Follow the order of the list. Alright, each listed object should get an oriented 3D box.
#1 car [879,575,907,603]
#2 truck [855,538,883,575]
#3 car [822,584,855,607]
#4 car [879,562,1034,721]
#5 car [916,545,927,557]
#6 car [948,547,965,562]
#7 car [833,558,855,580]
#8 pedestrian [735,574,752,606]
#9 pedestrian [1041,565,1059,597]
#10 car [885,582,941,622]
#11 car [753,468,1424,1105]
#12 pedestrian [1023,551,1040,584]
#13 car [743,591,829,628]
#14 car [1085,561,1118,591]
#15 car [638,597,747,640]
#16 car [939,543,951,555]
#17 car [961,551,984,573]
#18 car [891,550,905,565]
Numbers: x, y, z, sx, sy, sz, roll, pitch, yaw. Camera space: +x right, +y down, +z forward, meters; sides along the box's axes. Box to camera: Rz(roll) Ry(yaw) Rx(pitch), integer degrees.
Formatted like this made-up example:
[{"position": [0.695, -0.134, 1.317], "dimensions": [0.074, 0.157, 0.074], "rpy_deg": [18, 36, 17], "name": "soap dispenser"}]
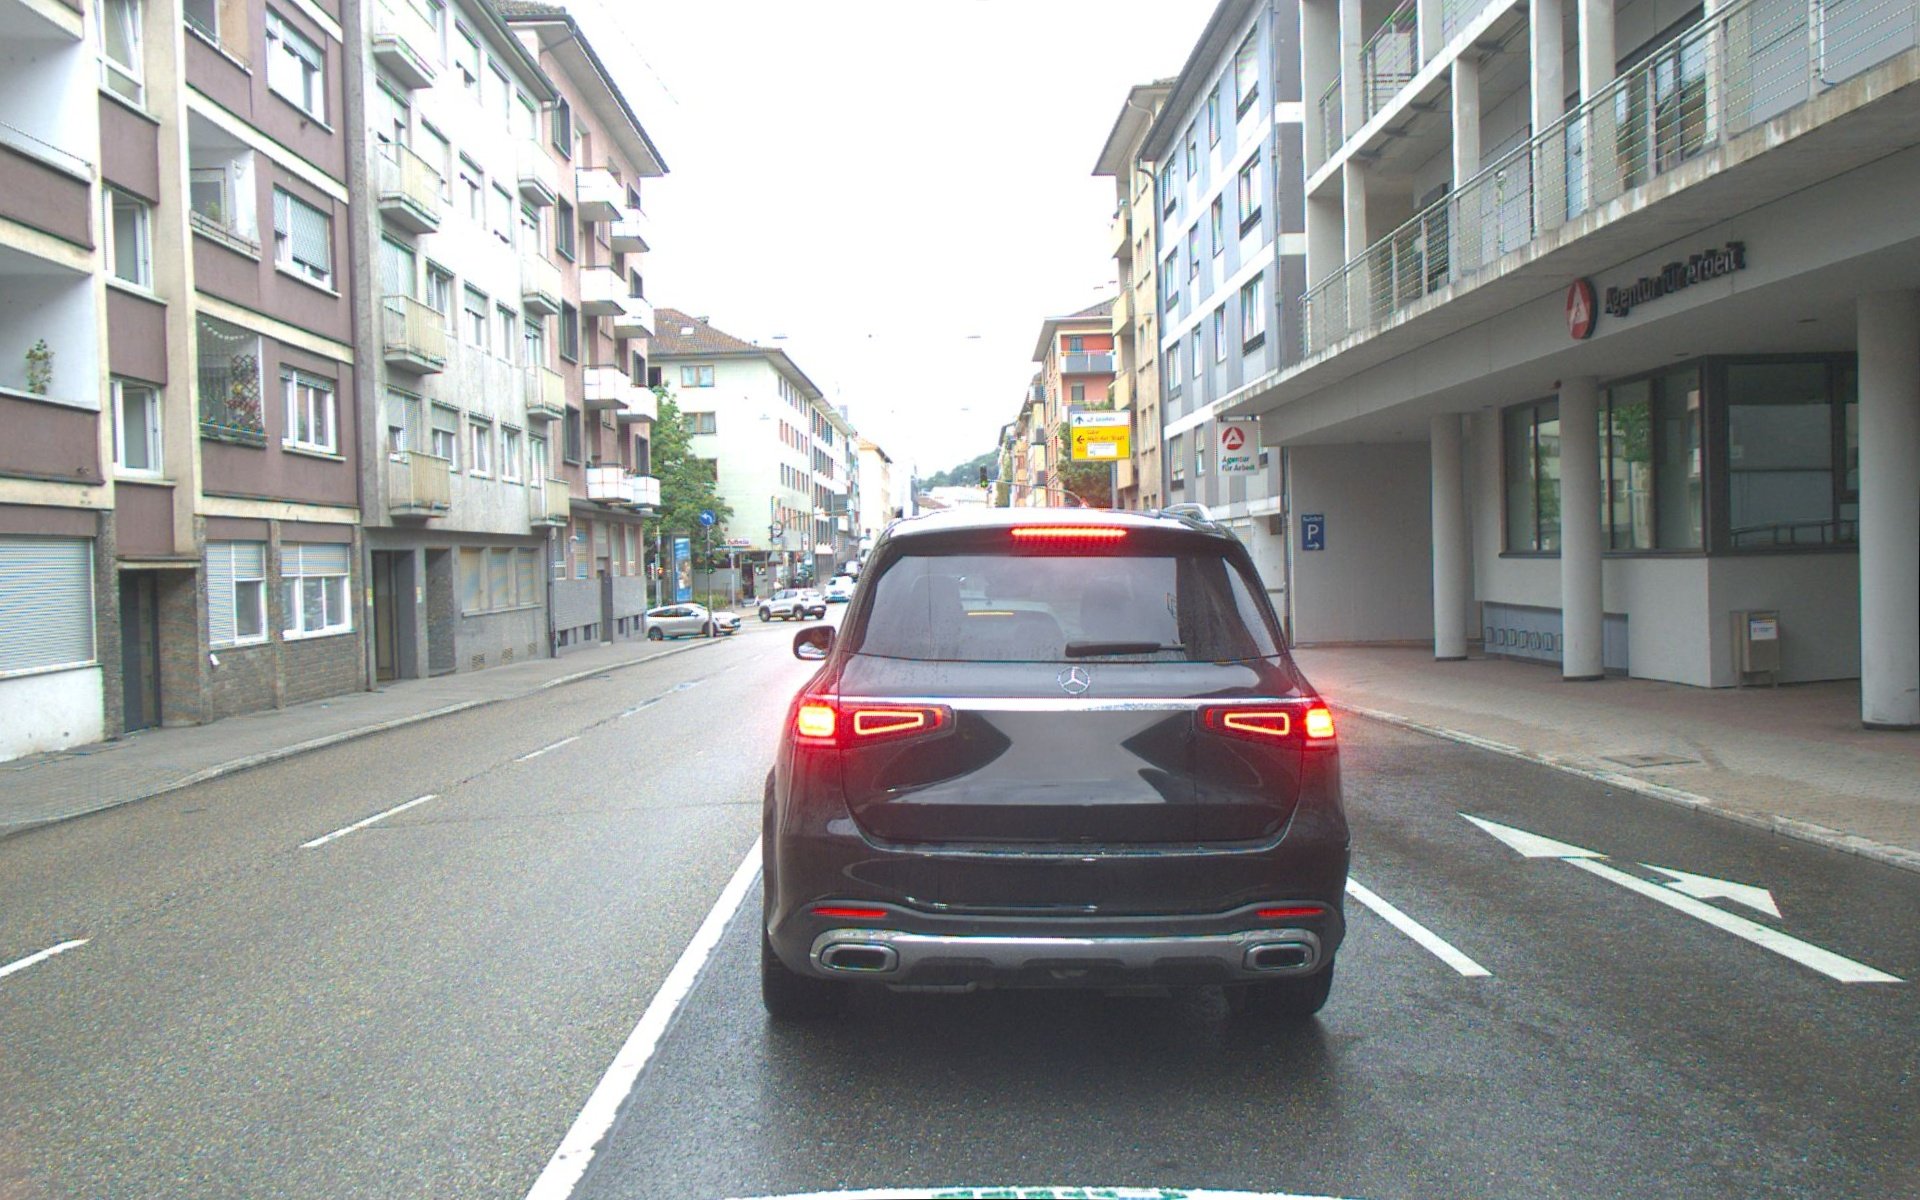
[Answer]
[{"position": [-4.133, -0.646, 101.196], "dimensions": [1.586, 1.566, 4.215], "rpy_deg": [-3, 0, -3], "name": "car"}, {"position": [-8.603, -4.051, 156.968], "dimensions": [2.430, 3.099, 9.914], "rpy_deg": [-3, 0, -3], "name": "truck"}, {"position": [-7.356, -0.271, 100.619], "dimensions": [1.848, 1.286, 4.215], "rpy_deg": [-3, 0, -3], "name": "car"}, {"position": [-0.136, 0.480, 20.853], "dimensions": [1.716, 1.762, 4.215], "rpy_deg": [-1, 0, -3], "name": "car"}, {"position": [-5.816, -7.433, 250.151], "dimensions": [1.586, 1.566, 4.215], "rpy_deg": [-3, 0, -3], "name": "car"}, {"position": [-0.361, -4.919, 179.689], "dimensions": [1.586, 1.411, 4.215], "rpy_deg": [-3, 0, -3], "name": "car"}, {"position": [-9.214, -2.485, 131.516], "dimensions": [1.586, 1.566, 4.215], "rpy_deg": [-3, 0, -3], "name": "car"}, {"position": [-13.300, -0.596, 101.743], "dimensions": [0.904, 1.935, 0.706], "rpy_deg": [-2, 0, -3], "name": "pedestrian"}, {"position": [5.335, -1.123, 98.046], "dimensions": [0.904, 1.836, 0.706], "rpy_deg": [-2, 0, -3], "name": "pedestrian"}, {"position": [-2.044, 0.097, 70.580], "dimensions": [1.782, 1.566, 4.208], "rpy_deg": [-3, 0, -10], "name": "car"}, {"position": [0.350, 0.558, 7.045], "dimensions": [1.944, 1.836, 4.389], "rpy_deg": [1, 0, -1], "name": "car"}, {"position": [4.476, -2.034, 103.851], "dimensions": [0.904, 2.049, 0.706], "rpy_deg": [-2, 0, -3], "name": "pedestrian"}, {"position": [-8.388, 0.472, 79.773], "dimensions": [4.136, 1.566, 1.616], "rpy_deg": [-3, 0, 38], "name": "car"}, {"position": [8.088, -1.352, 94.707], "dimensions": [1.636, 1.616, 3.331], "rpy_deg": [-2, 1, 1], "name": "car"}, {"position": [-11.597, 0.798, 71.684], "dimensions": [4.252, 1.566, 1.779], "rpy_deg": [-3, 0, 15], "name": "car"}, {"position": [-2.192, -7.591, 245.130], "dimensions": [1.586, 1.566, 4.215], "rpy_deg": [-3, 0, -3], "name": "car"}, {"position": [1.058, -3.298, 143.557], "dimensions": [1.689, 1.790, 4.215], "rpy_deg": [-3, 1, -3], "name": "car"}, {"position": [-7.284, -4.940, 193.631], "dimensions": [1.586, 1.566, 4.215], "rpy_deg": [-3, 0, -3], "name": "car"}]
